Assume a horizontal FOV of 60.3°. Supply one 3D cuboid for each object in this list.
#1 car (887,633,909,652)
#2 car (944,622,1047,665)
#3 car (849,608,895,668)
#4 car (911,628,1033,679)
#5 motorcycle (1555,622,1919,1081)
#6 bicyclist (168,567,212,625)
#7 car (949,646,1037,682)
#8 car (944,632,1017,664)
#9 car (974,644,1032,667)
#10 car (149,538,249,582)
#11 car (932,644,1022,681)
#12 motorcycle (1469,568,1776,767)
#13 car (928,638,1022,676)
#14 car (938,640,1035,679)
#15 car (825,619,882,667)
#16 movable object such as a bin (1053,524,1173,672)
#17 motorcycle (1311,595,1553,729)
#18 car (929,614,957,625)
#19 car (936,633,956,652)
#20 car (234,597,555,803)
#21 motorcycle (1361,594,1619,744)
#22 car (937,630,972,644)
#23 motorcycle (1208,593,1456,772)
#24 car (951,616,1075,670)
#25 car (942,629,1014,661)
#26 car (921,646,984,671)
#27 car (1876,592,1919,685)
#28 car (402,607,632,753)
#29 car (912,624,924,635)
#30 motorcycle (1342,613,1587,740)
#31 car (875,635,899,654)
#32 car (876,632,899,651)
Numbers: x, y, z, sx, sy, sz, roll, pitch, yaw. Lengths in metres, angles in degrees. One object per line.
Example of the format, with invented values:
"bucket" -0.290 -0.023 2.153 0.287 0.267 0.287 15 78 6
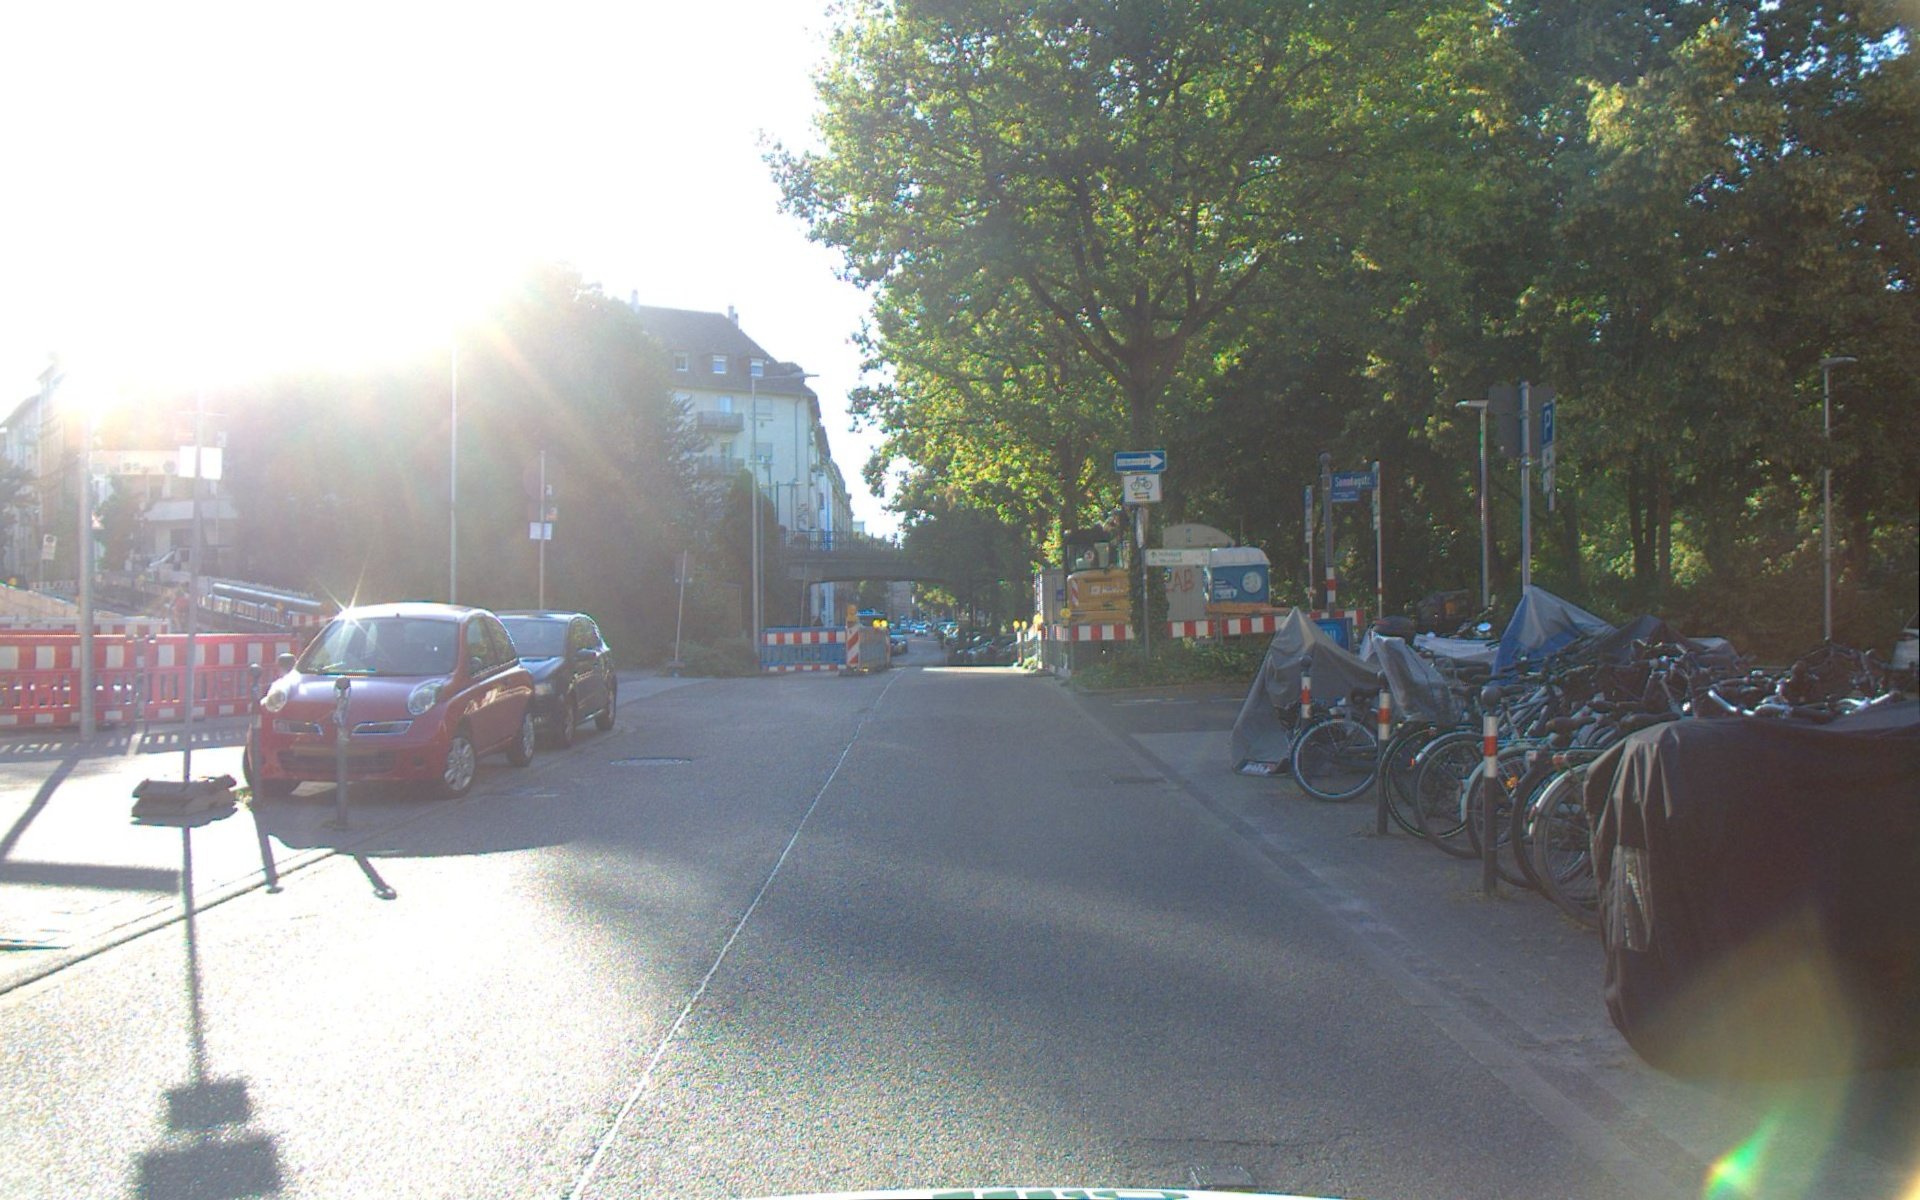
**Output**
"car" -5.316 3.646 141.542 1.776 1.422 3.973 -2 -2 -2
"car" 1.487 1.871 70.609 4.300 1.732 1.915 1 -3 -3
"car" -3.965 1.764 74.640 2.006 2.541 5.693 1 -3 -3
"car" 0.414 1.952 59.818 4.300 1.732 1.915 1 -3 -3
"motorcycle" 3.169 0.754 5.519 1.983 1.307 0.903 -3 0 -2
"bicyclist" -18.702 -0.097 40.154 0.797 1.407 0.973 0 0 -36
"car" 1.660 3.266 84.110 4.300 1.732 1.915 1 -3 -3
"car" 1.214 2.905 100.084 4.300 1.816 1.915 1 -3 -3
"car" 3.221 4.170 123.741 4.298 1.638 1.780 0 -3 -1
"car" -36.803 -1.934 80.117 4.310 2.049 1.921 0 0 -23
"car" 0.798 3.061 80.837 4.300 1.732 1.915 1 -3 -3
"motorcycle" 5.416 0.532 13.572 2.239 1.558 0.755 -1 -1 -7
"car" 0.669 2.693 77.758 4.300 1.732 1.915 1 -3 -3
"car" 1.173 2.739 75.602 4.300 1.732 1.915 1 -3 -3
"car" -3.508 1.451 54.821 1.681 1.443 4.104 -2 -2 -2
"movable object such as a bin" 3.044 -0.018 32.414 1.951 2.747 3.113 -1 -1 12
"motorcycle" 5.055 0.644 17.785 2.322 1.365 0.938 -1 -1 -11
"car" -2.691 2.985 255.076 4.298 1.638 1.780 0 -3 -1
"car" -1.261 3.778 147.815 1.739 1.638 4.400 -1 -1 -1
"car" -4.819 0.767 14.673 1.636 1.557 3.998 -1 0 -3
"motorcycle" 4.934 0.642 15.529 2.234 1.365 0.657 -1 -1 11
"car" -0.672 4.601 203.286 4.298 1.638 1.780 0 -3 -1
"motorcycle" 3.187 0.670 14.170 1.894 1.437 0.940 -1 0 27
"car" 2.044 1.694 64.420 4.648 2.032 1.914 1 -3 -5
"car" 1.081 2.797 101.940 4.300 1.894 1.915 1 -3 -3
"car" -0.563 4.084 115.613 4.300 1.638 1.779 1 -3 -3
"car" 16.930 0.726 27.139 3.957 1.437 1.857 3 1 -37
"car" -4.982 0.840 19.123 1.635 1.483 3.999 -1 0 -1
"car" -6.301 4.431 248.730 1.776 1.422 3.973 -2 -2 -2
"motorcycle" 4.954 0.746 16.415 2.234 1.200 0.972 -1 -1 12
"car" -5.755 3.535 131.396 1.776 1.422 3.973 -2 -2 -2
"car" -5.962 3.410 136.425 1.776 1.422 3.973 -2 -2 -2
